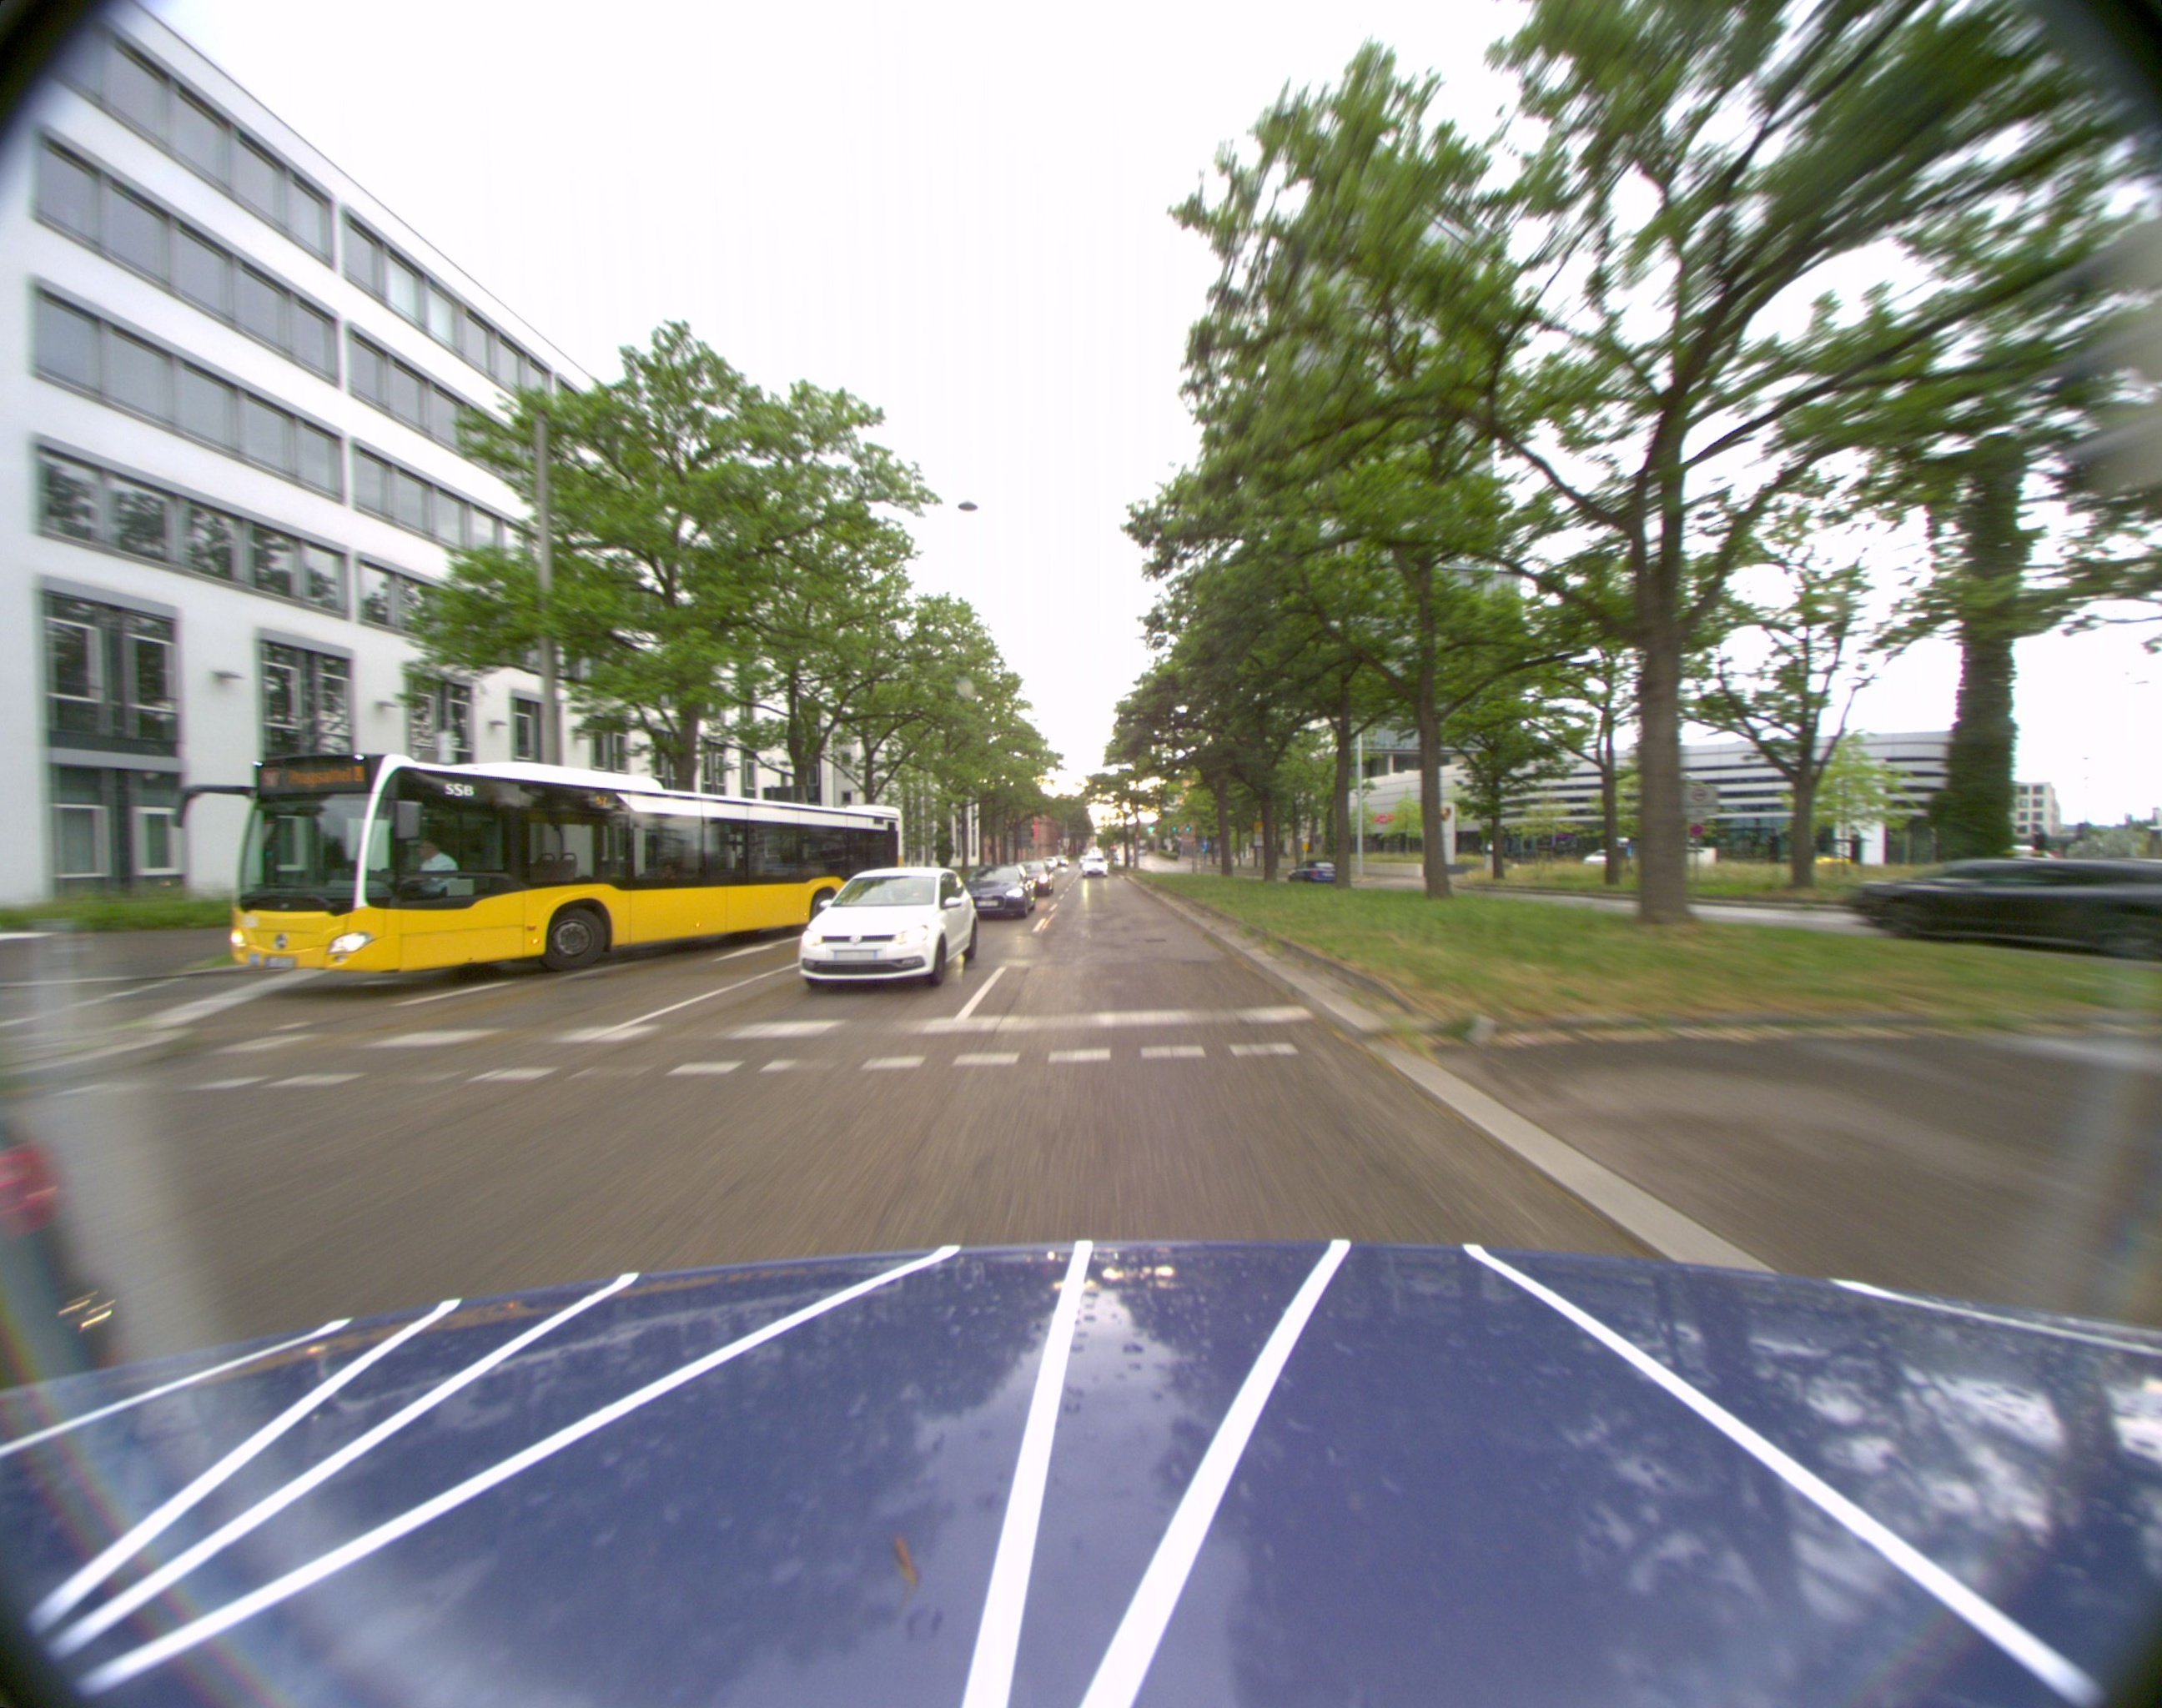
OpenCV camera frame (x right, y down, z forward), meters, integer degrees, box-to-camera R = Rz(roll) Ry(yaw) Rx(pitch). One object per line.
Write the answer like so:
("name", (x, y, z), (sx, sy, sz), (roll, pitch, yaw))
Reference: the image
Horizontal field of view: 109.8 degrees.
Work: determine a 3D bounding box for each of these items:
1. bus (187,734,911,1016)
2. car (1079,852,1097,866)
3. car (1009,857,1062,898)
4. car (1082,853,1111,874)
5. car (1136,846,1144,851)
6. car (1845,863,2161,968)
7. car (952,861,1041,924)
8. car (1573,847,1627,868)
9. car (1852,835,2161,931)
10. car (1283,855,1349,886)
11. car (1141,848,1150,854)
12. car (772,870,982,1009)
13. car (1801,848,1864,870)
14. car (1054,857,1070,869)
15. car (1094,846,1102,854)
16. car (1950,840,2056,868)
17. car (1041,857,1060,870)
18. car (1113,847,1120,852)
("bus", (-7.686, 0.229, 14.657), (2.730, 3.133, 12.160), (-2, 0, 17))
("car", (0.895, 0.577, 90.552), (1.998, 1.707, 4.000), (0, 0, 3))
("car", (-1.815, 0.930, 31.331), (1.625, 1.426, 3.552), (-2, 1, 5))
("car", (1.143, 0.643, 54.640), (1.998, 1.455, 4.000), (0, 0, 2))
("car", (16.654, -1.513, 214.340), (1.783, 1.445, 3.999), (-3, 1, -1))
("car", (15.314, 0.846, 11.941), (1.829, 1.355, 4.667), (-1, 0, -2))
("car", (-2.185, 0.966, 20.759), (1.878, 1.346, 4.331), (-3, 1, 0))
("car", (40.579, 0.272, 59.416), (4.005, 1.405, 1.775), (-3, 1, -28))
("car", (18.620, 0.632, 15.117), (1.834, 1.613, 4.568), (1, -3, -1))
("car", (11.346, 0.749, 36.901), (1.791, 1.387, 3.880), (-1, 0, -3))
("car", (16.835, -0.825, 198.764), (1.894, 1.445, 3.999), (-3, 1, -1))
("car", (-2.520, 0.992, 10.351), (1.745, 1.423, 3.811), (0, 1, 1))
("car", (50.782, 0.331, 51.340), (4.004, 1.316, 1.617), (-3, 1, -24))
("car", (-2.723, 1.290, 107.821), (1.998, 1.630, 4.000), (-1, 0, 2))
("car", (4.138, -0.995, 182.206), (1.998, 1.772, 4.000), (0, 0, 2))
("car", (45.743, -0.024, 37.820), (1.616, 1.237, 4.005), (-2, 1, 21))
("car", (-3.618, 1.140, 91.550), (1.998, 1.576, 4.000), (0, 0, 3))
("car", (10.727, -1.291, 227.327), (1.846, 1.581, 4.173), (0, 1, -1))
